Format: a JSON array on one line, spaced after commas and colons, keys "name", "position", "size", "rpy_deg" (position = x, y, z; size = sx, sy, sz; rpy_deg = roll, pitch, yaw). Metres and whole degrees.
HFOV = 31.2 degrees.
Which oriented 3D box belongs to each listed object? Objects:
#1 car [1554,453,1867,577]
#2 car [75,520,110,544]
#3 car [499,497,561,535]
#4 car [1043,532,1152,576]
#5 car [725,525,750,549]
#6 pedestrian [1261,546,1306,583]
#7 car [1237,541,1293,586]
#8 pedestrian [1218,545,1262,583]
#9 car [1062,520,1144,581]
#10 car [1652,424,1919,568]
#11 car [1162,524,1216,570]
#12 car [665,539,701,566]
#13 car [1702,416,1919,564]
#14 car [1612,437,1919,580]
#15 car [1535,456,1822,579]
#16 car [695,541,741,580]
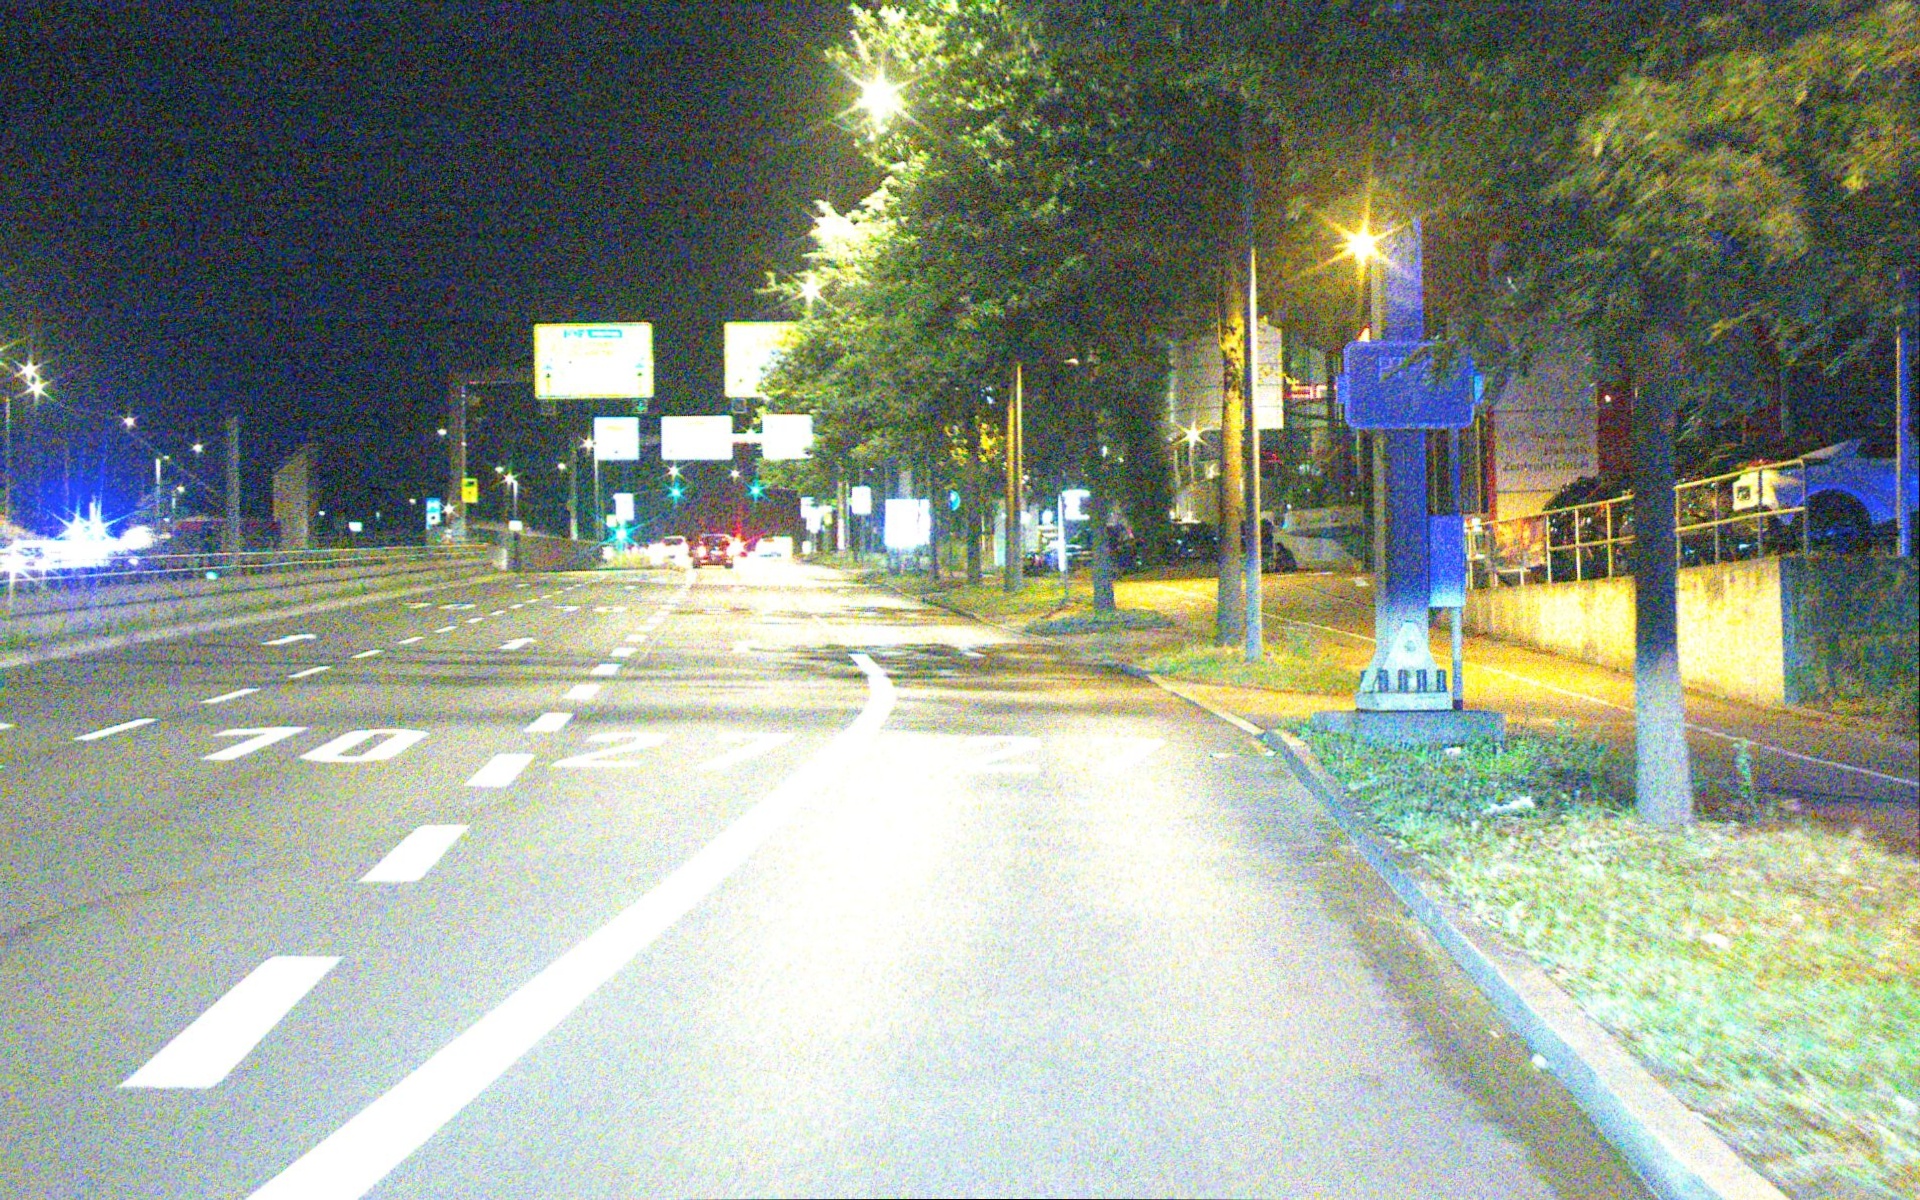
[{"name": "car", "position": [10.111, -1.139, 46.447], "size": [3.724, 1.484, 1.742], "rpy_deg": [-2, -1, -5]}, {"name": "car", "position": [-58.260, -4.540, 230.928], "size": [1.625, 1.476, 3.679], "rpy_deg": [1, -1, -3]}, {"name": "car", "position": [-21.369, -4.172, 170.775], "size": [1.967, 1.705, 4.001], "rpy_deg": [1, -1, -24]}, {"name": "car", "position": [4.868, -1.613, 121.873], "size": [3.623, 1.446, 1.708], "rpy_deg": [1, -1, -7]}, {"name": "car", "position": [-16.796, -4.738, 259.208], "size": [1.780, 1.722, 4.000], "rpy_deg": [1, -1, -4]}, {"name": "pedestrian", "position": [8.896, -0.972, 94.563], "size": [0.997, 1.004, 0.772], "rpy_deg": [1, -1, -19]}, {"name": "car", "position": [11.091, -1.317, 125.064], "size": [1.893, 1.506, 3.635], "rpy_deg": [1, -1, 3]}, {"name": "pedestrian", "position": [7.697, -0.980, 94.547], "size": [0.913, 1.035, 0.770], "rpy_deg": [-1, 0, 40]}, {"name": "car", "position": [4.873, -1.676, 116.711], "size": [1.995, 1.938, 3.997], "rpy_deg": [1, -1, 14]}, {"name": "car", "position": [10.548, -1.256, 41.413], "size": [3.986, 1.566, 1.738], "rpy_deg": [-2, -1, -2]}, {"name": "car", "position": [8.227, -1.888, 123.735], "size": [1.893, 1.506, 3.635], "rpy_deg": [1, -1, 3]}, {"name": "car", "position": [-17.526, -3.018, 217.807], "size": [2.004, 1.546, 4.295], "rpy_deg": [1, -1, -1]}, {"name": "car", "position": [10.727, -1.263, 39.071], "size": [4.119, 1.517, 1.822], "rpy_deg": [-2, -1, -2]}, {"name": "car", "position": [10.482, -1.164, 44.053], "size": [3.746, 1.582, 1.780], "rpy_deg": [-3, -1, -5]}, {"name": "car", "position": [10.206, -1.168, 48.943], "size": [3.561, 1.564, 1.727], "rpy_deg": [-2, 0, -8]}, {"name": "car", "position": [-11.481, -1.880, 163.519], "size": [1.968, 1.705, 4.000], "rpy_deg": [1, -1, -1]}]
